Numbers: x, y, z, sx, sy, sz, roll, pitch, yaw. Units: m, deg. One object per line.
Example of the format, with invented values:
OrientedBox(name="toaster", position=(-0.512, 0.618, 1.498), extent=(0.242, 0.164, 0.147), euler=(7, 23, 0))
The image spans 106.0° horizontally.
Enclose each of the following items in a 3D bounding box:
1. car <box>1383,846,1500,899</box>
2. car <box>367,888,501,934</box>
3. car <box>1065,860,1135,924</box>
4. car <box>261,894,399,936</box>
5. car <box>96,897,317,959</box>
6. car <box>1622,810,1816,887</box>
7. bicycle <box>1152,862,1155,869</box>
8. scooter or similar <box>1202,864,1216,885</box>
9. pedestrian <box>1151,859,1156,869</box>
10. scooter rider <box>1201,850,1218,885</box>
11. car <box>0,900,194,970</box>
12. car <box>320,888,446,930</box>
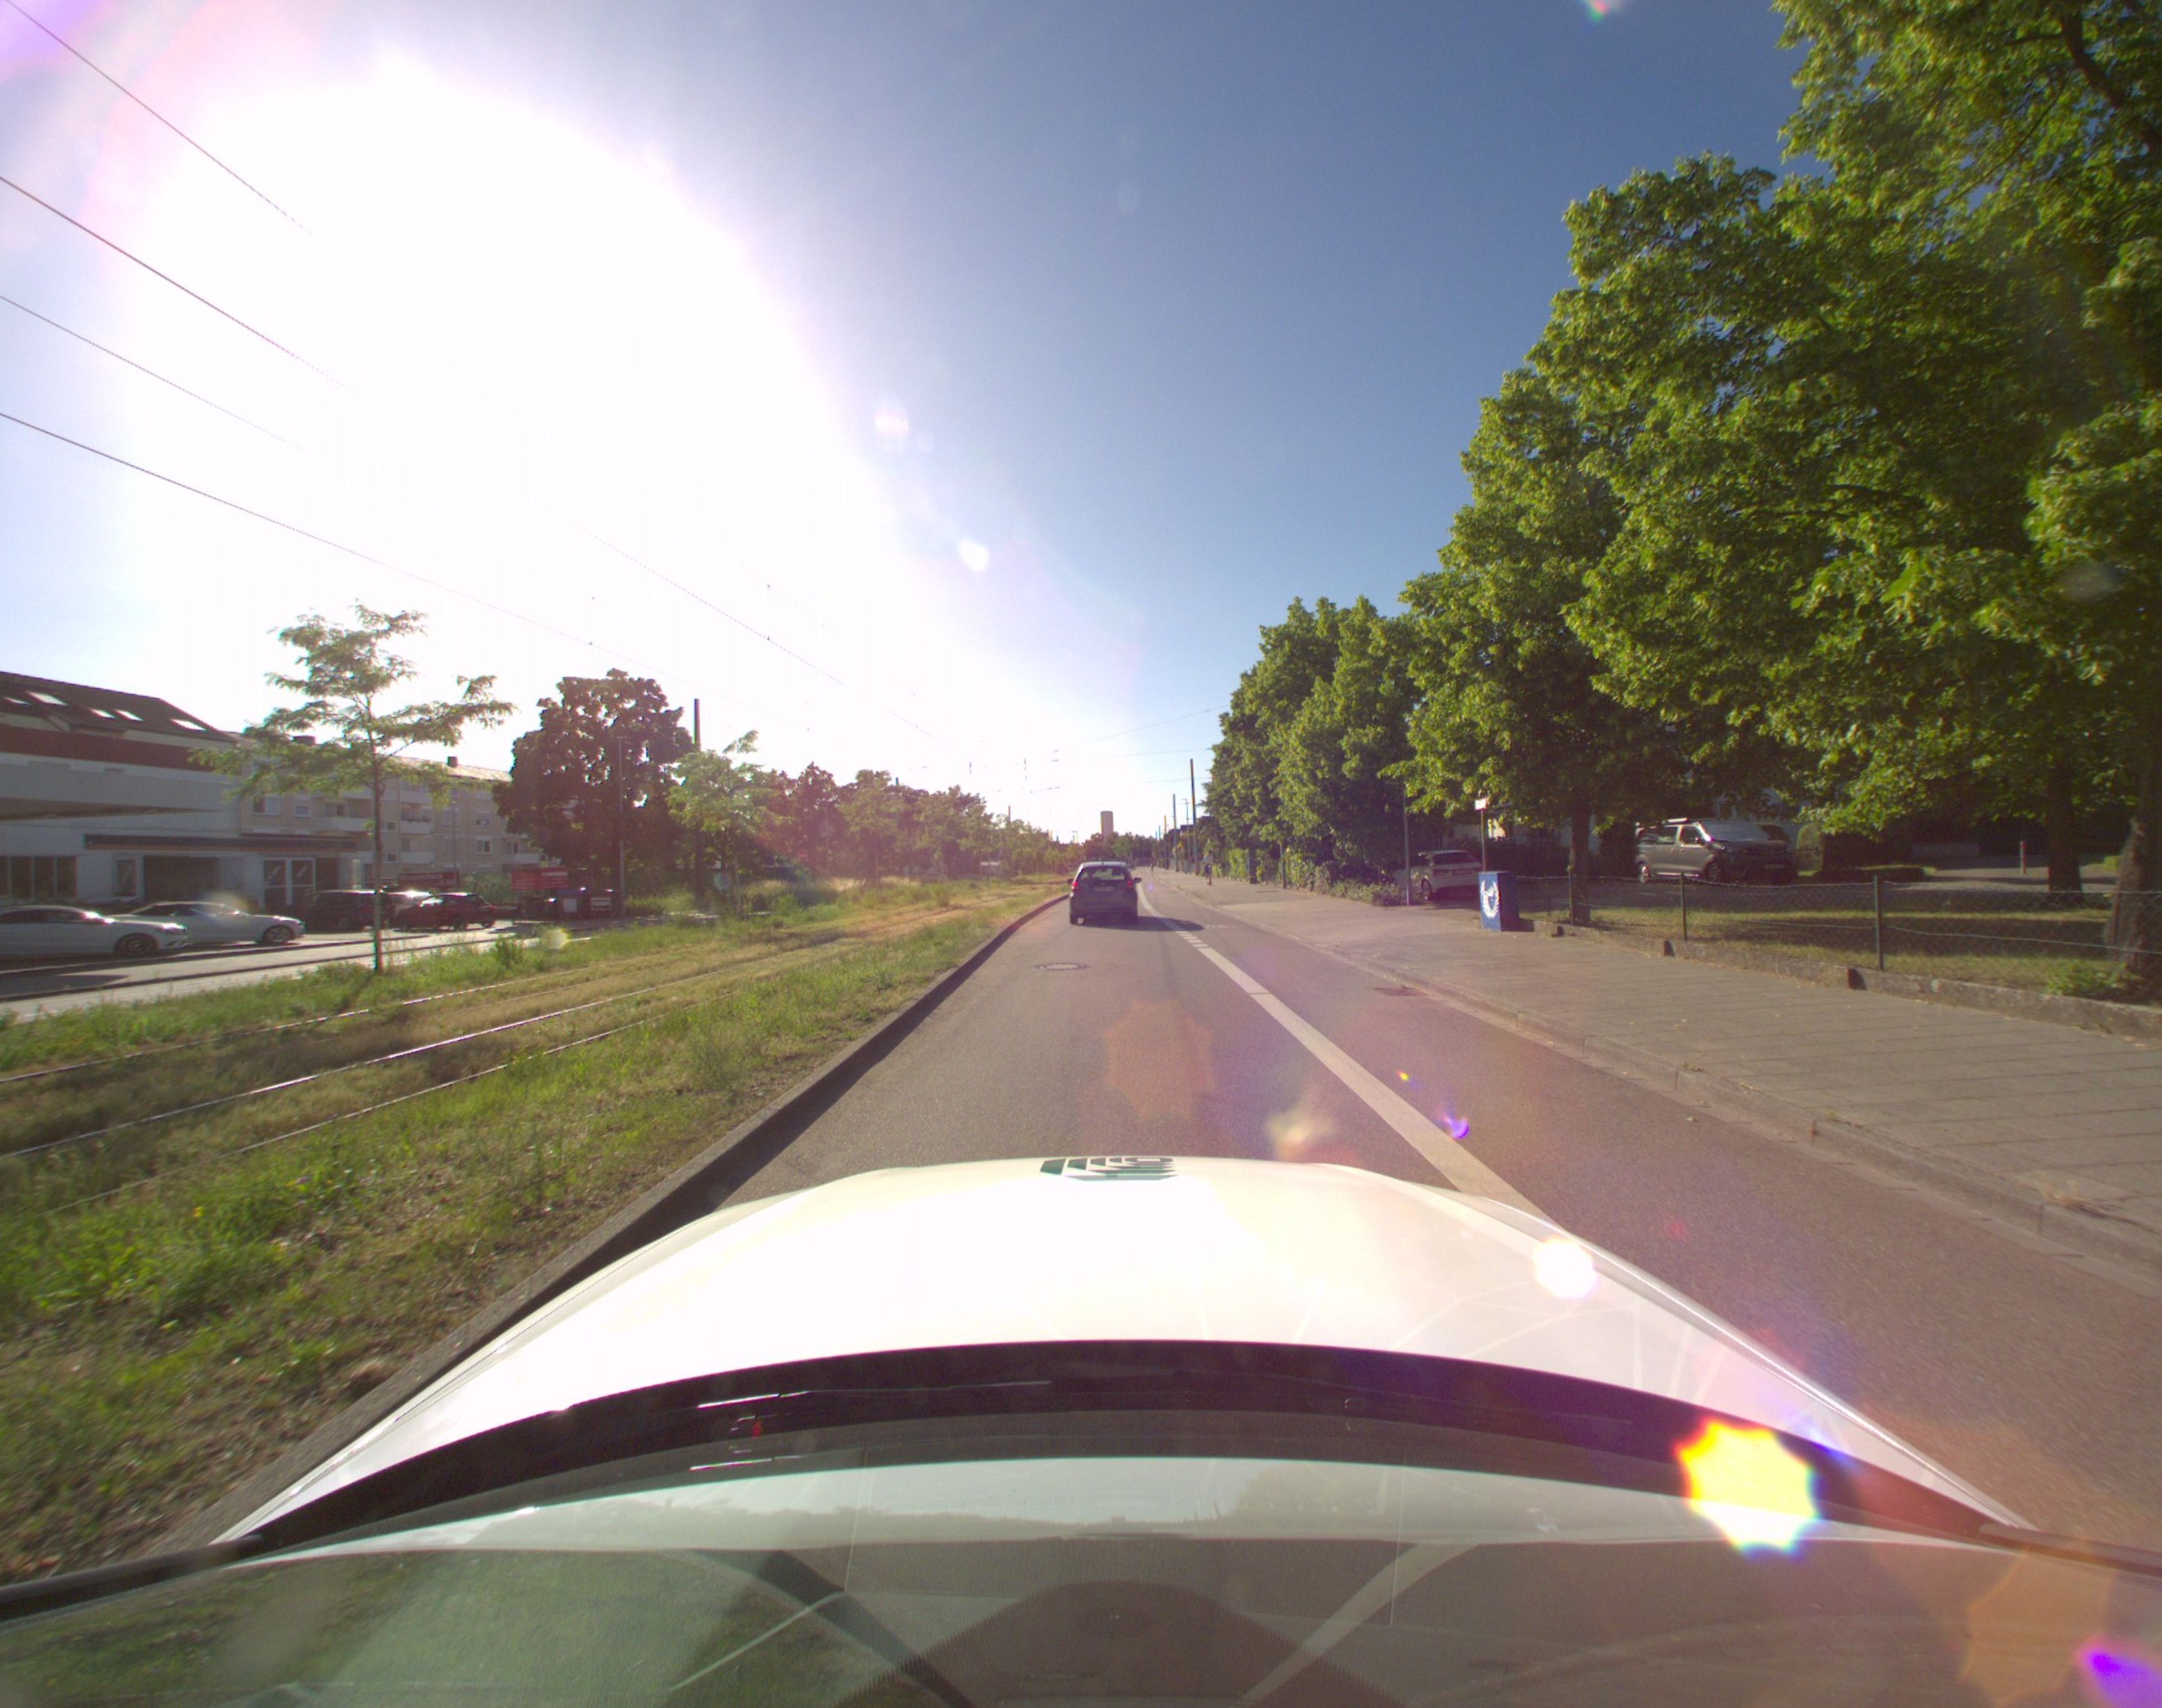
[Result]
OrientedBox(name="car", position=(10.715, 0.536, 24.522), extent=(1.768, 1.386, 3.870), euler=(-3, -1, 0))
OrientedBox(name="car", position=(-26.813, 2.336, 33.836), extent=(4.056, 1.568, 1.792), euler=(-3, 0, 1))
OrientedBox(name="car", position=(0.490, 0.918, 21.018), extent=(1.618, 1.500, 3.457), euler=(-1, -1, 1))
OrientedBox(name="car", position=(-31.378, 2.527, 34.090), extent=(4.056, 1.445, 1.792), euler=(-3, 0, 1))
OrientedBox(name="car", position=(-27.592, 2.270, 25.869), extent=(1.769, 1.471, 4.500), euler=(-3, 0, 33))
OrientedBox(name="car", position=(18.483, -0.132, 24.002), extent=(1.864, 1.966, 5.171), euler=(-2, -1, 4))
OrientedBox(name="bicycle", position=(13.838, 2.137, 155.223), extent=(0.510, 1.241, 3.091), euler=(-3, -1, 3))
OrientedBox(name="scooter or similar", position=(7.175, 1.142, 45.570), extent=(0.537, 1.118, 1.418), euler=(-3, -1, 2))
OrientedBox(name="pedestrian", position=(13.804, 1.856, 155.387), extent=(0.719, 1.800, 1.165), euler=(-3, -1, 2))
OrientedBox(name="scooter rider", position=(7.144, 0.729, 45.379), extent=(0.713, 1.901, 0.935), euler=(-3, -1, 1))
OrientedBox(name="car", position=(-27.285, 2.182, 21.966), extent=(1.769, 1.528, 4.499), euler=(-3, -1, 41))
OrientedBox(name="car", position=(-31.125, 2.442, 36.385), extent=(4.056, 1.568, 1.792), euler=(-3, 0, 1))
